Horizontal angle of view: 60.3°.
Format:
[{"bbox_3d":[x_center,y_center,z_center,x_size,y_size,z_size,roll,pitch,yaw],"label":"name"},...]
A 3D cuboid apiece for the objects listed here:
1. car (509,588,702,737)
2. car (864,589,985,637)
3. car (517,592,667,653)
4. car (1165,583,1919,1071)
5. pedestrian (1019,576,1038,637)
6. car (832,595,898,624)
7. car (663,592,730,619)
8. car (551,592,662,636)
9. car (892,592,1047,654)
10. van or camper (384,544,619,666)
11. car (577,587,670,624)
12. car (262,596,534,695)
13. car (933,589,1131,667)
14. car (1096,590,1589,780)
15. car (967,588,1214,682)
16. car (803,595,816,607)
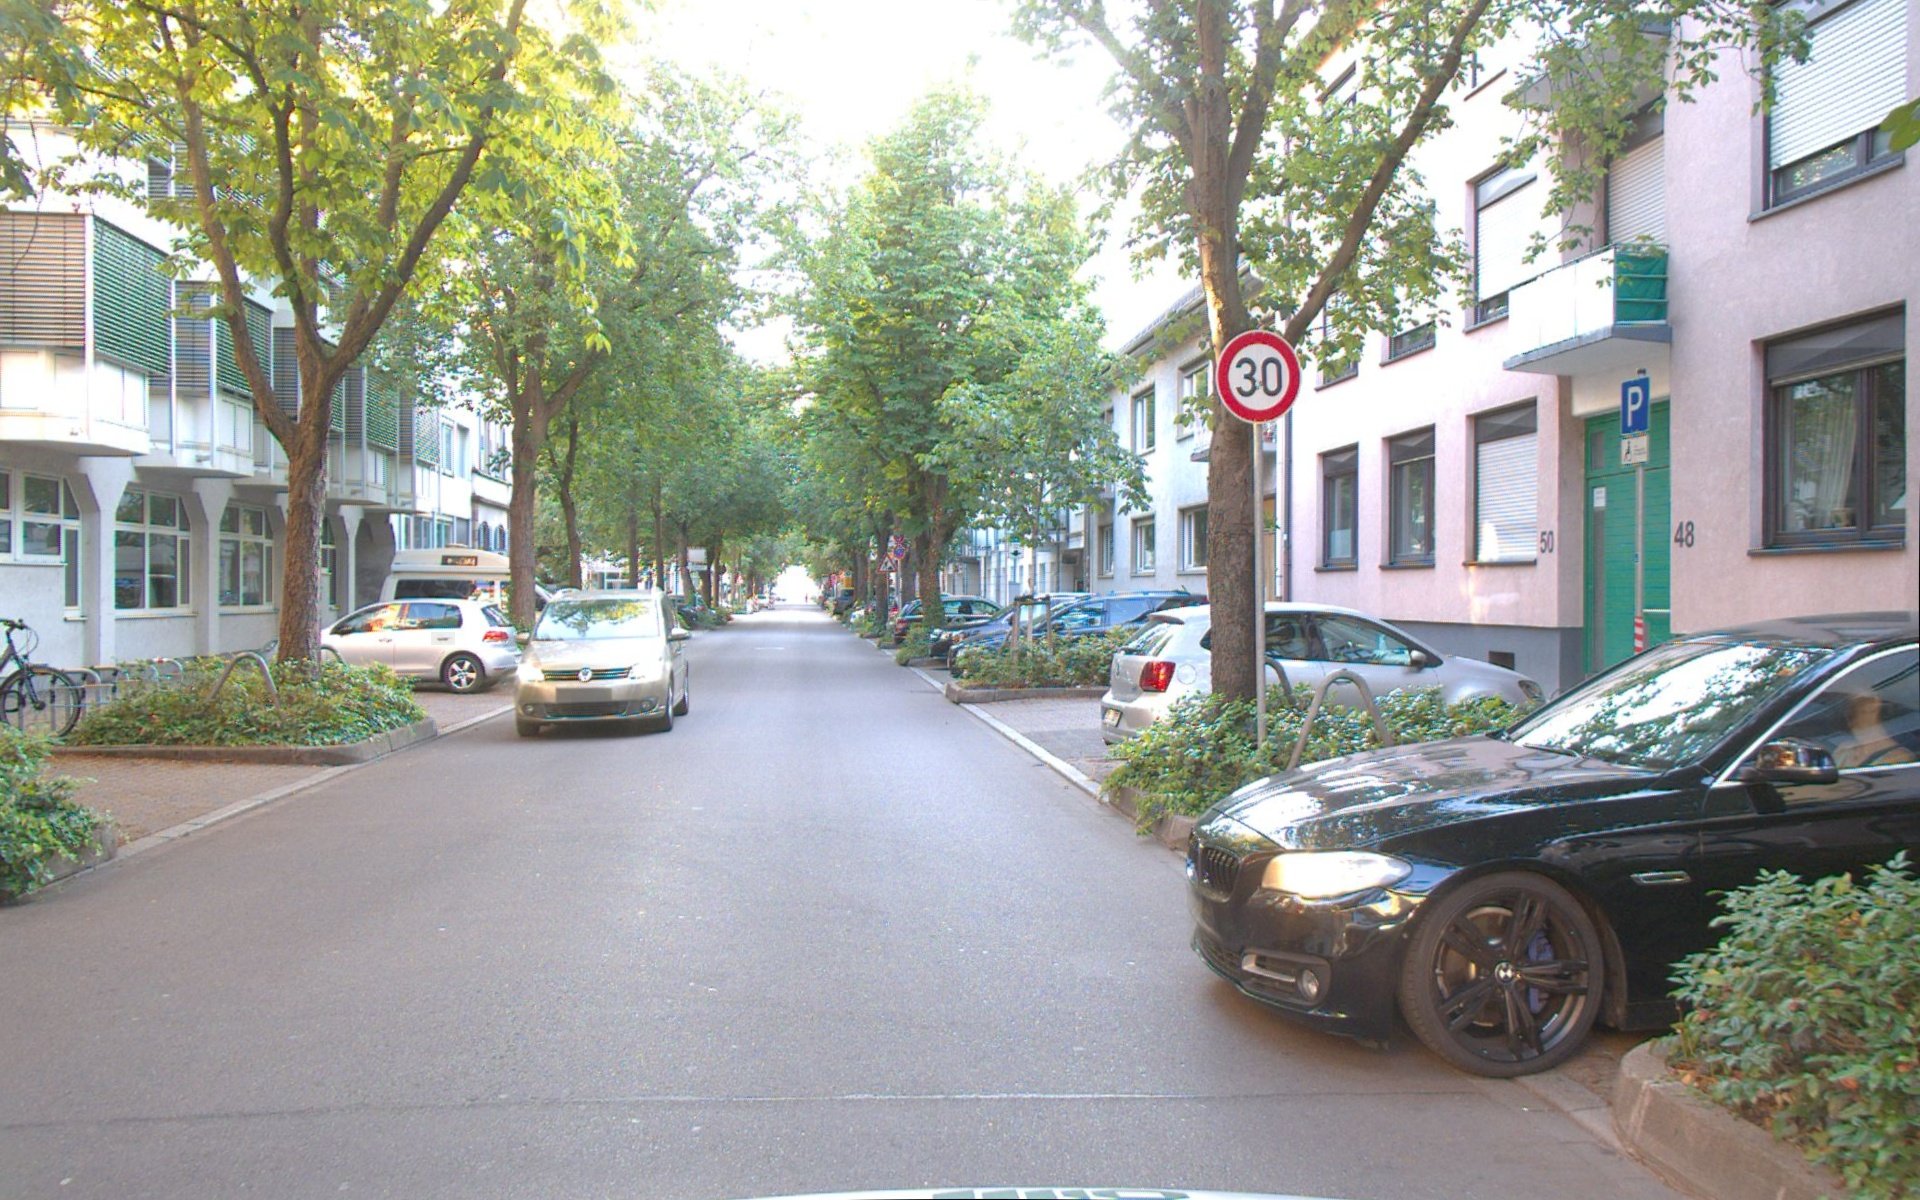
[{"bbox_3d":[-4.140,0.661,19.930,1.744,1.589,4.164,0,0,-5],"label":"car"},{"bbox_3d":[-1.216,0.424,55.139,3.892,1.554,1.782,0,0,-7],"label":"car"},{"bbox_3d":[-10.289,0.613,46.445,3.890,1.647,1.783,0,0,-5],"label":"car"},{"bbox_3d":[3.249,0.692,6.243,4.653,1.506,1.798,0,0,-6],"label":"car"},{"bbox_3d":[2.349,0.214,56.370,0.577,2.049,0.669,0,0,-4],"label":"pedestrian"},{"bbox_3d":[-5.693,0.581,99.142,3.890,1.713,1.783,0,0,-5],"label":"car"},{"bbox_3d":[-15.978,0.322,100.421,3.890,1.647,1.783,0,0,-5],"label":"car"},{"bbox_3d":[-13.412,0.510,62.946,3.890,1.647,1.783,0,0,-5],"label":"car"},{"bbox_3d":[0.218,0.581,43.256,3.891,1.554,1.783,0,0,-6],"label":"car"},{"bbox_3d":[-9.735,0.091,35.448,4.573,2.521,1.998,0,0,-6],"label":"van or camper"},{"bbox_3d":[-15.132,0.229,74.565,3.890,1.647,1.783,0,0,-5],"label":"car"},{"bbox_3d":[-9.126,0.713,27.125,3.890,1.544,1.783,0,0,-5],"label":"car"},{"bbox_3d":[1.457,0.561,34.432,3.891,1.554,1.783,0,0,-6],"label":"car"},{"bbox_3d":[3.230,0.676,14.333,3.835,1.502,1.662,0,0,-8],"label":"car"},{"bbox_3d":[2.156,0.564,27.941,3.893,1.502,1.782,0,0,-8],"label":"car"},{"bbox_3d":[-20.973,0.146,230.667,1.787,1.557,3.996,1,0,-5],"label":"car"}]
